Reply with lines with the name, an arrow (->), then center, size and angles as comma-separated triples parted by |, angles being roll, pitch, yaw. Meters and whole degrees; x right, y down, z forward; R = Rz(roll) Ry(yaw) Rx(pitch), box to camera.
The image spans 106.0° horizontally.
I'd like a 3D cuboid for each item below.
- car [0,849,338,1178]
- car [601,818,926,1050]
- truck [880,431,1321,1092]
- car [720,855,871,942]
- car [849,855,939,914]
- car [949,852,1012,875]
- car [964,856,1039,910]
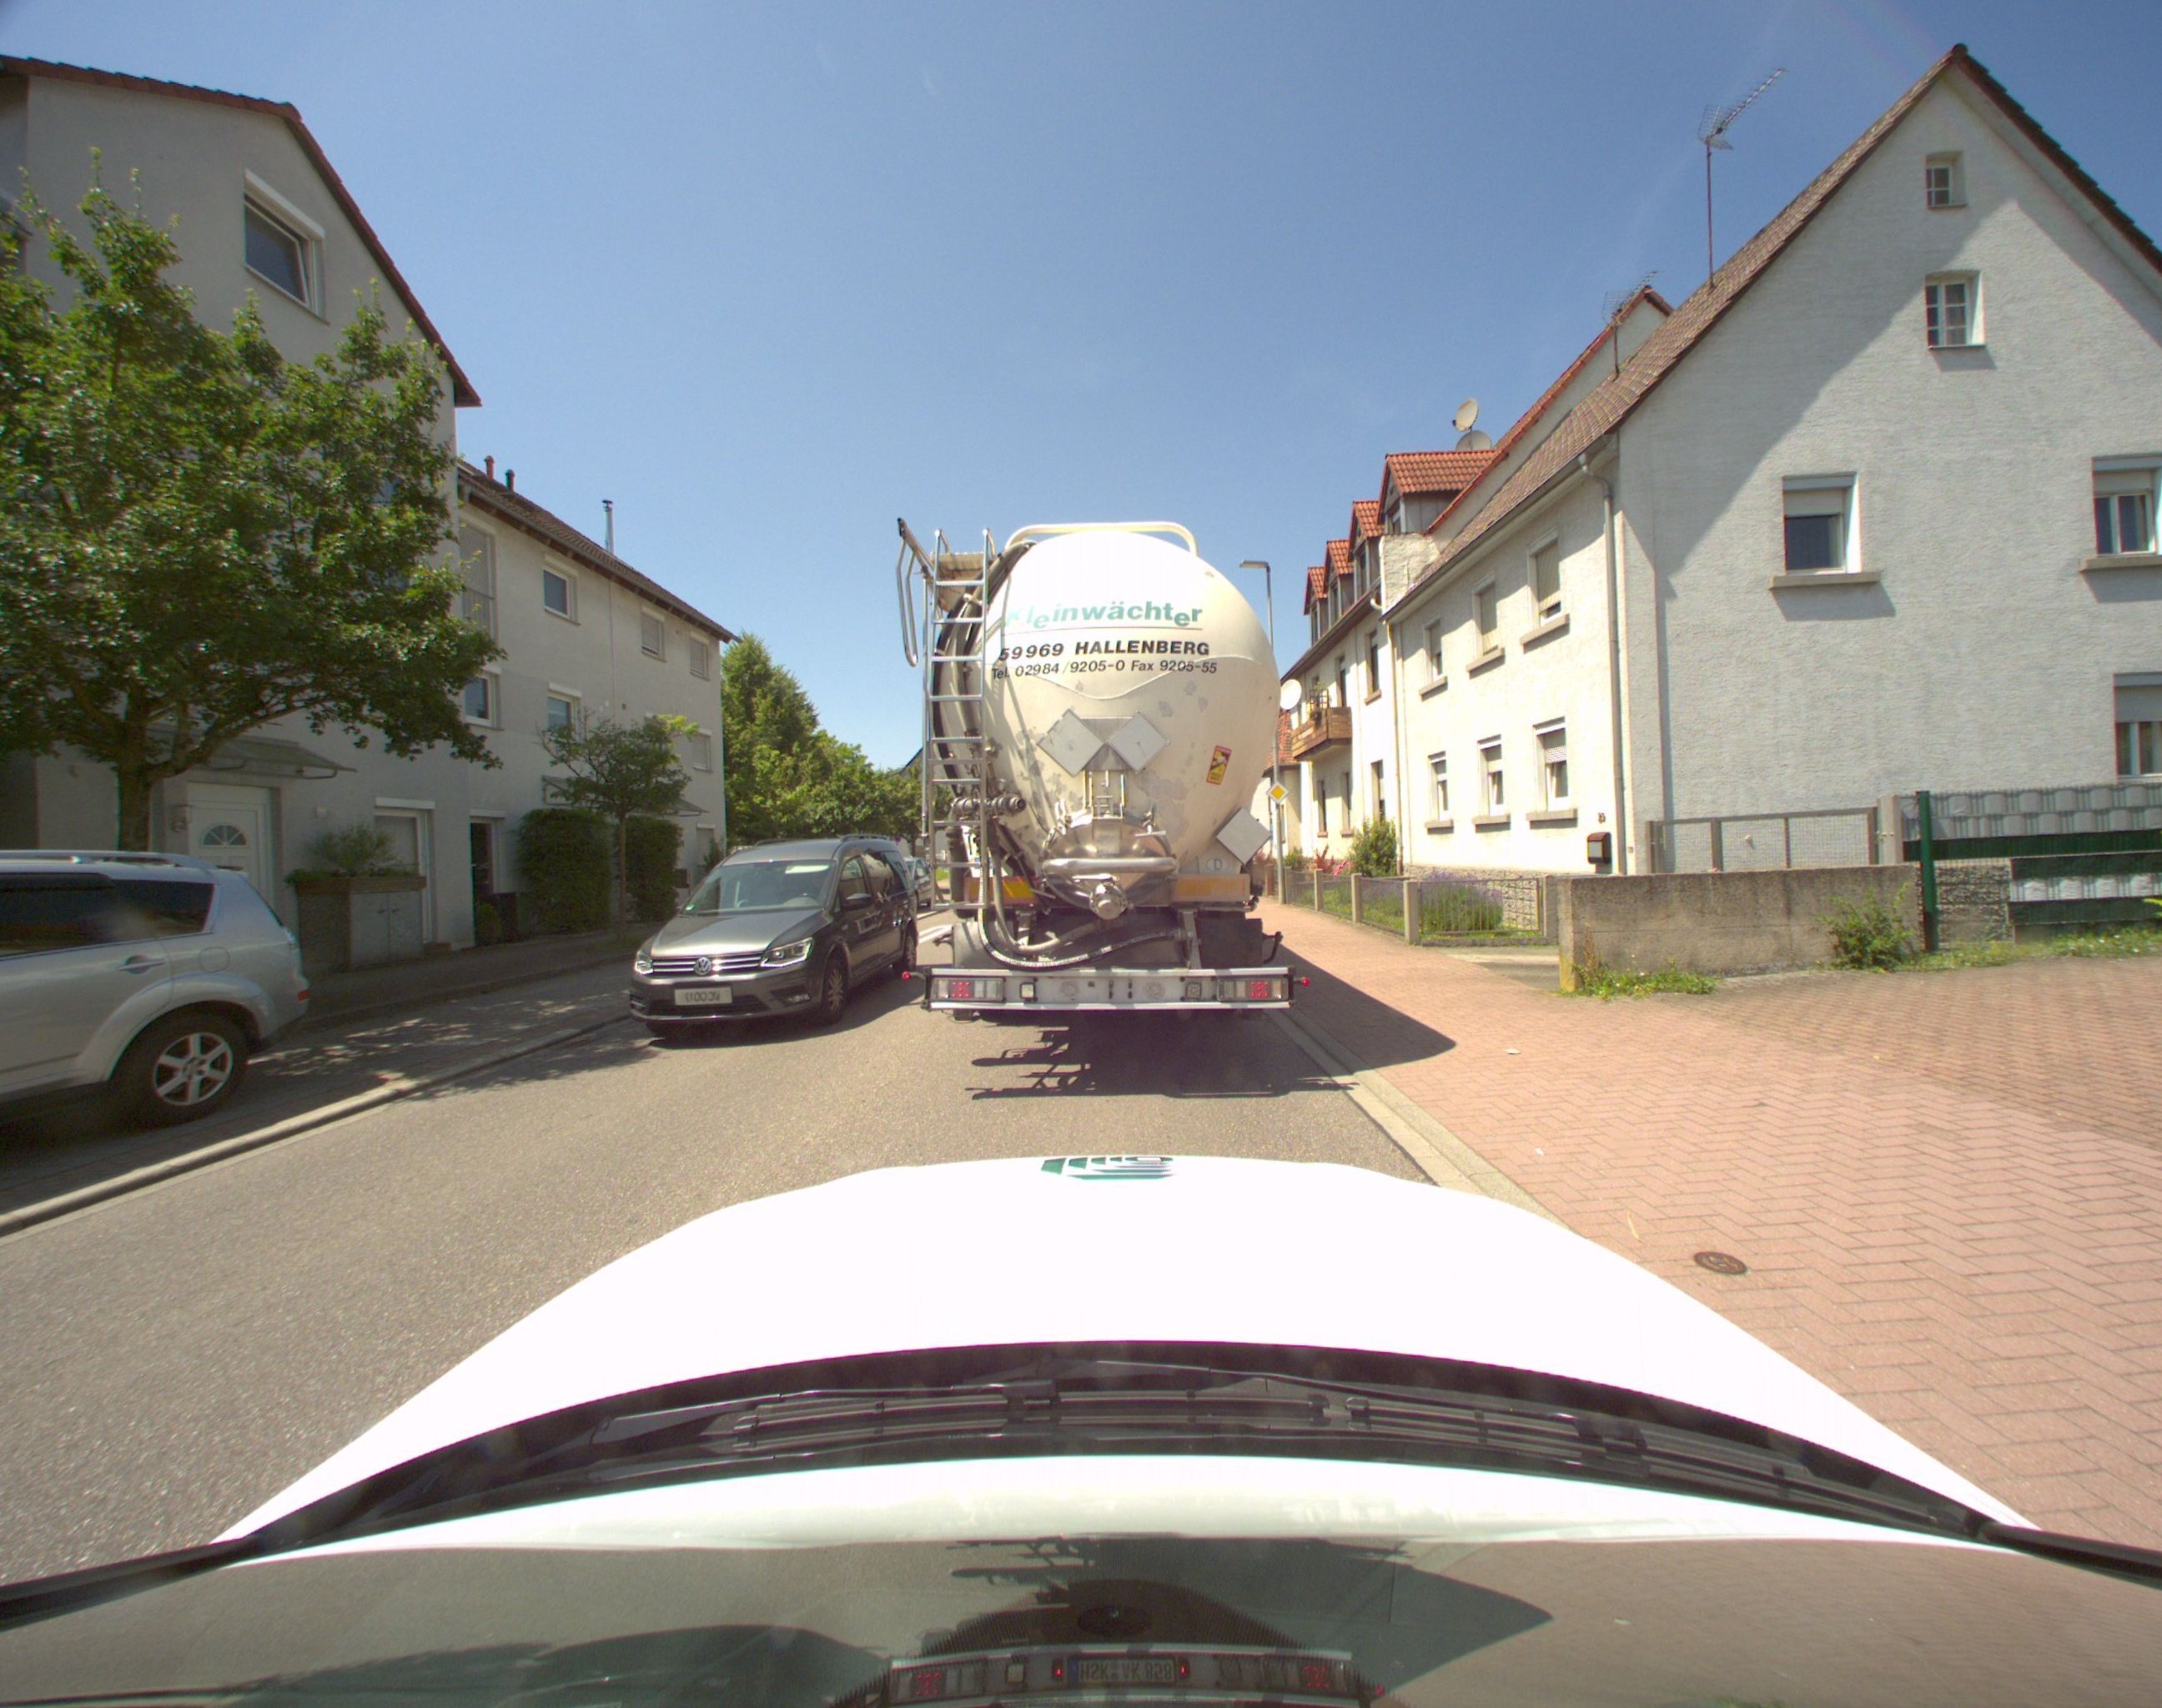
car -> -6.412, 0.832, 3.783 | 1.700, 1.686, 4.526 | -1, 0, 1
car -> -3.089, 0.664, 9.065 | 1.649, 1.855, 4.466 | -3, 0, 2
truck -> 0.285, -0.574, 9.792 | 2.631, 4.015, 9.566 | -1, 0, 2
car -> -5.979, 0.848, 17.603 | 1.685, 1.620, 3.999 | -1, 0, 2
car -> -5.481, 0.849, 24.342 | 1.691, 1.581, 3.838 | -1, 0, 1
car -> -7.941, 0.716, 64.649 | 4.597, 1.651, 1.745 | -2, 0, 9
car -> -2.431, 0.850, 25.877 | 1.712, 1.446, 4.257 | -4, 0, 2
